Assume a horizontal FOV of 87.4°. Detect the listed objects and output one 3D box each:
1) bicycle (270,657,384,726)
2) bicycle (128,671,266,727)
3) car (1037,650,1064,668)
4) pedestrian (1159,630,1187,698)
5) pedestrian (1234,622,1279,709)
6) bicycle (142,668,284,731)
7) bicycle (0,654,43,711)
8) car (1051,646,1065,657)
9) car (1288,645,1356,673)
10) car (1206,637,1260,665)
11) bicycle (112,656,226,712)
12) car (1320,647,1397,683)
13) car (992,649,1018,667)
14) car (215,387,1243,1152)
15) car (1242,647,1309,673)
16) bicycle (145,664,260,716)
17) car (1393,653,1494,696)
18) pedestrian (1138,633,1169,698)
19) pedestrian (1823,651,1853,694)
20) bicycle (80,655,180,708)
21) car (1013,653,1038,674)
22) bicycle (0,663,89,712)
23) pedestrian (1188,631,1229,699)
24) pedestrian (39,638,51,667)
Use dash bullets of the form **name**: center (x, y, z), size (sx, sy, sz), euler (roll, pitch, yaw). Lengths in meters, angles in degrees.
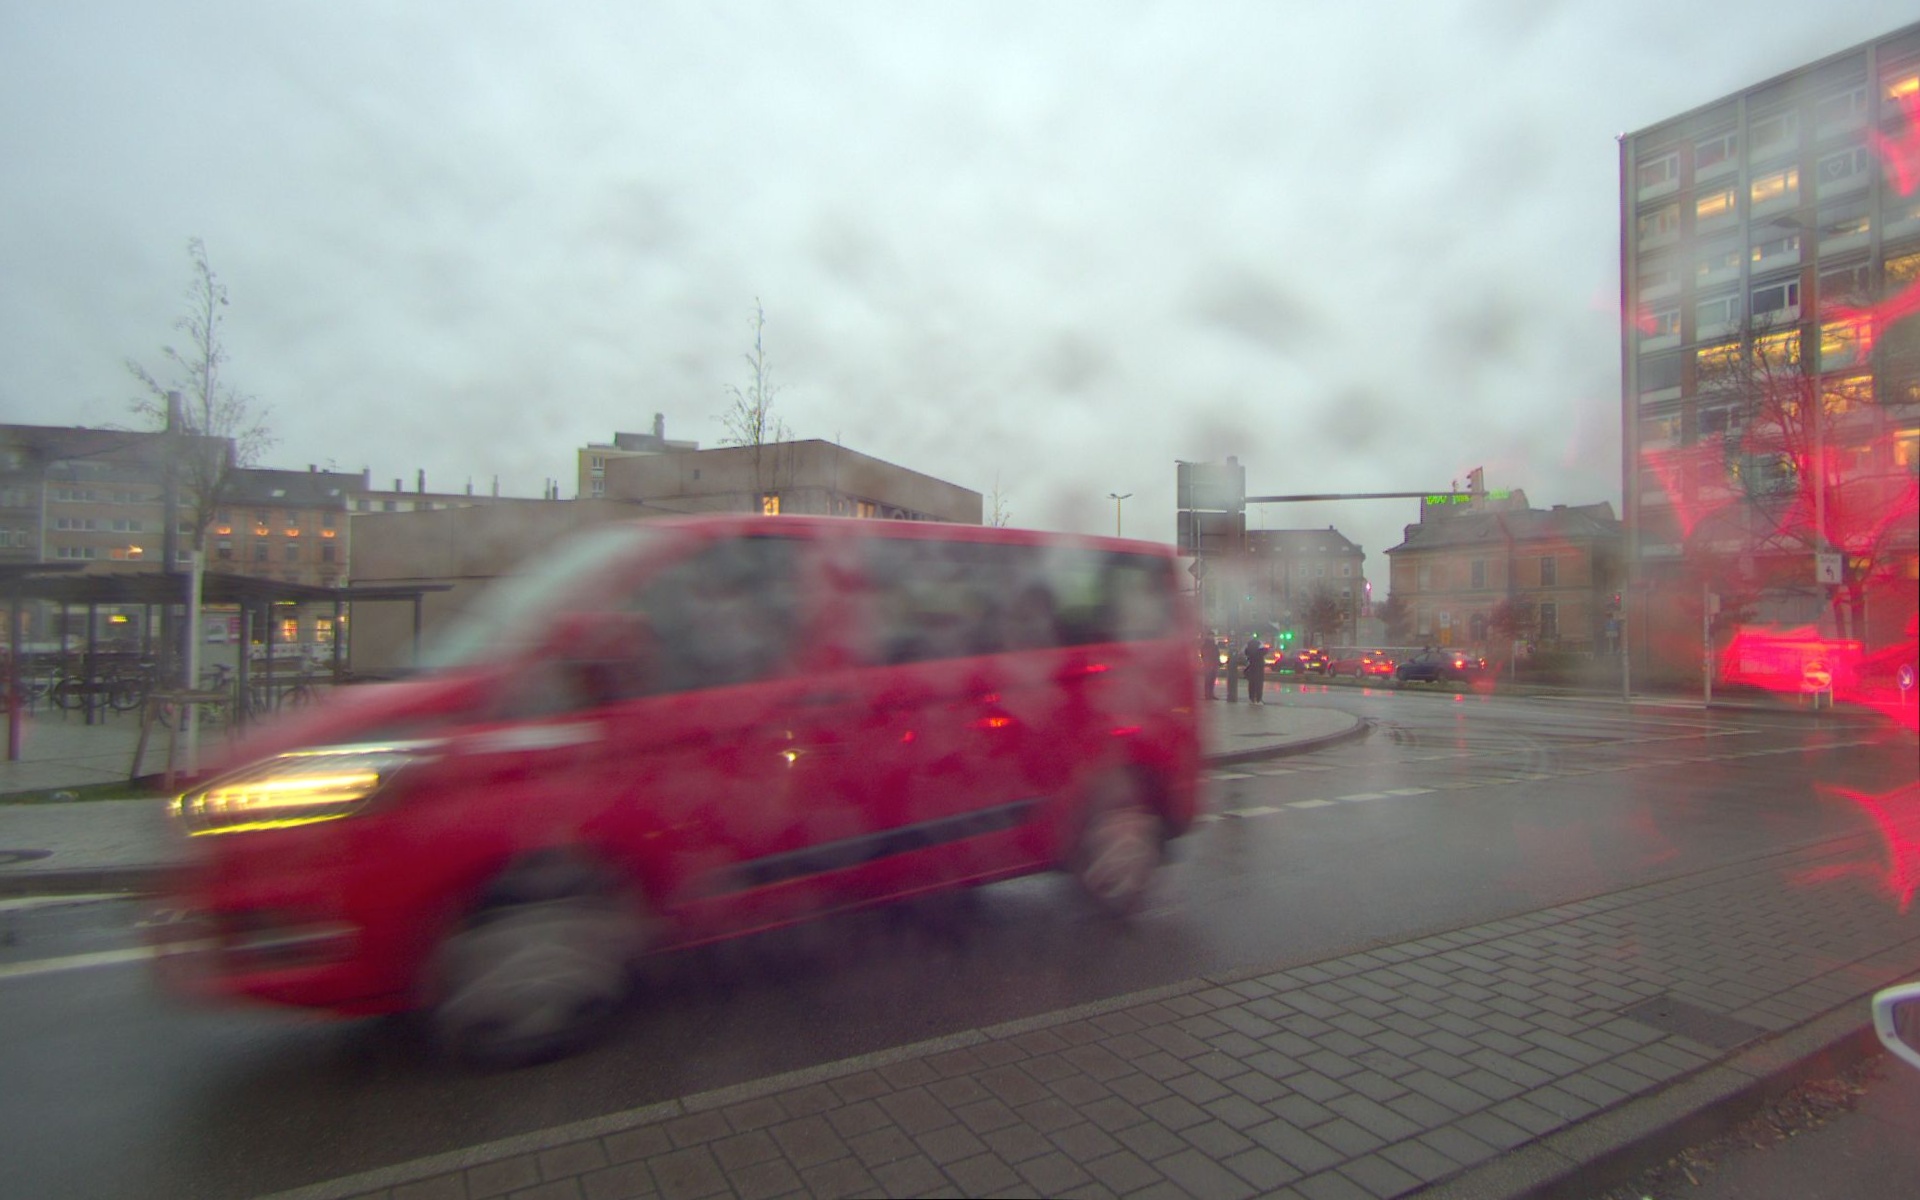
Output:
- **bicycle**: center (-11.749, 1.677, 18.720), size (0.605, 1.172, 1.755), euler (1, -2, 20)
- **bicycle**: center (-13.586, 1.739, 17.952), size (0.466, 0.903, 1.923), euler (1, -2, 29)
- **car**: center (7.874, 5.174, 87.826), size (1.776, 1.496, 4.592), euler (1, -3, -3)
- **pedestrian**: center (5.877, 1.758, 27.666), size (0.720, 1.863, 0.677), euler (-1, -2, 12)
- **pedestrian**: center (7.200, 1.578, 24.384), size (0.971, 2.047, 0.802), euler (-1, -2, 19)
- **bicycle**: center (-12.935, 1.704, 17.460), size (0.466, 0.989, 1.923), euler (1, -2, 29)
- **bicycle**: center (-19.393, 1.635, 19.840), size (0.466, 1.122, 1.797), euler (1, -2, 29)
- **car**: center (13.683, 7.182, 140.307), size (1.704, 1.529, 4.003), euler (-1, -2, 7)
- **car**: center (20.903, 3.406, 58.078), size (3.364, 1.481, 1.515), euler (2, 0, -1)
- **car**: center (19.622, 3.653, 72.354), size (3.514, 1.850, 1.672), euler (2, 0, 8)
- **bicycle**: center (-16.529, 1.738, 21.040), size (0.466, 1.087, 1.830), euler (1, -2, 26)
- **car**: center (20.497, 3.309, 51.818), size (1.795, 1.589, 3.991), euler (2, 0, -11)
- **car**: center (4.108, 5.370, 92.689), size (1.901, 1.572, 4.698), euler (1, -3, -4)
- **car**: center (-0.772, 0.549, 4.988), size (4.605, 2.097, 1.908), euler (2, -3, -40)
- **car**: center (20.090, 3.805, 63.979), size (3.741, 1.502, 1.602), euler (2, 0, -1)
- **bicycle**: center (-15.179, 1.780, 20.175), size (0.466, 0.968, 1.767), euler (1, -2, 29)
- **car**: center (21.586, 3.307, 45.001), size (1.798, 1.589, 3.984), euler (2, 0, -18)
- **pedestrian**: center (5.442, 1.818, 28.185), size (0.729, 1.793, 0.548), euler (-1, -2, 24)
- **pedestrian**: center (35.413, 2.904, 40.507), size (0.626, 1.710, 0.640), euler (0, -2, -13)
- **bicycle**: center (-17.686, 1.712, 21.434), size (0.511, 1.050, 1.573), euler (1, -2, 19)
- **car**: center (5.134, 4.995, 79.126), size (1.711, 1.467, 3.714), euler (-1, -2, -1)
- **bicycle**: center (-18.508, 1.735, 19.991), size (0.466, 0.903, 1.693), euler (1, -2, 24)
- **pedestrian**: center (6.589, 1.705, 26.628), size (0.838, 1.778, 0.659), euler (0, -2, -14)
- **pedestrian**: center (-63.746, 3.654, 69.982), size (0.407, 2.040, 0.441), euler (0, -2, -22)
